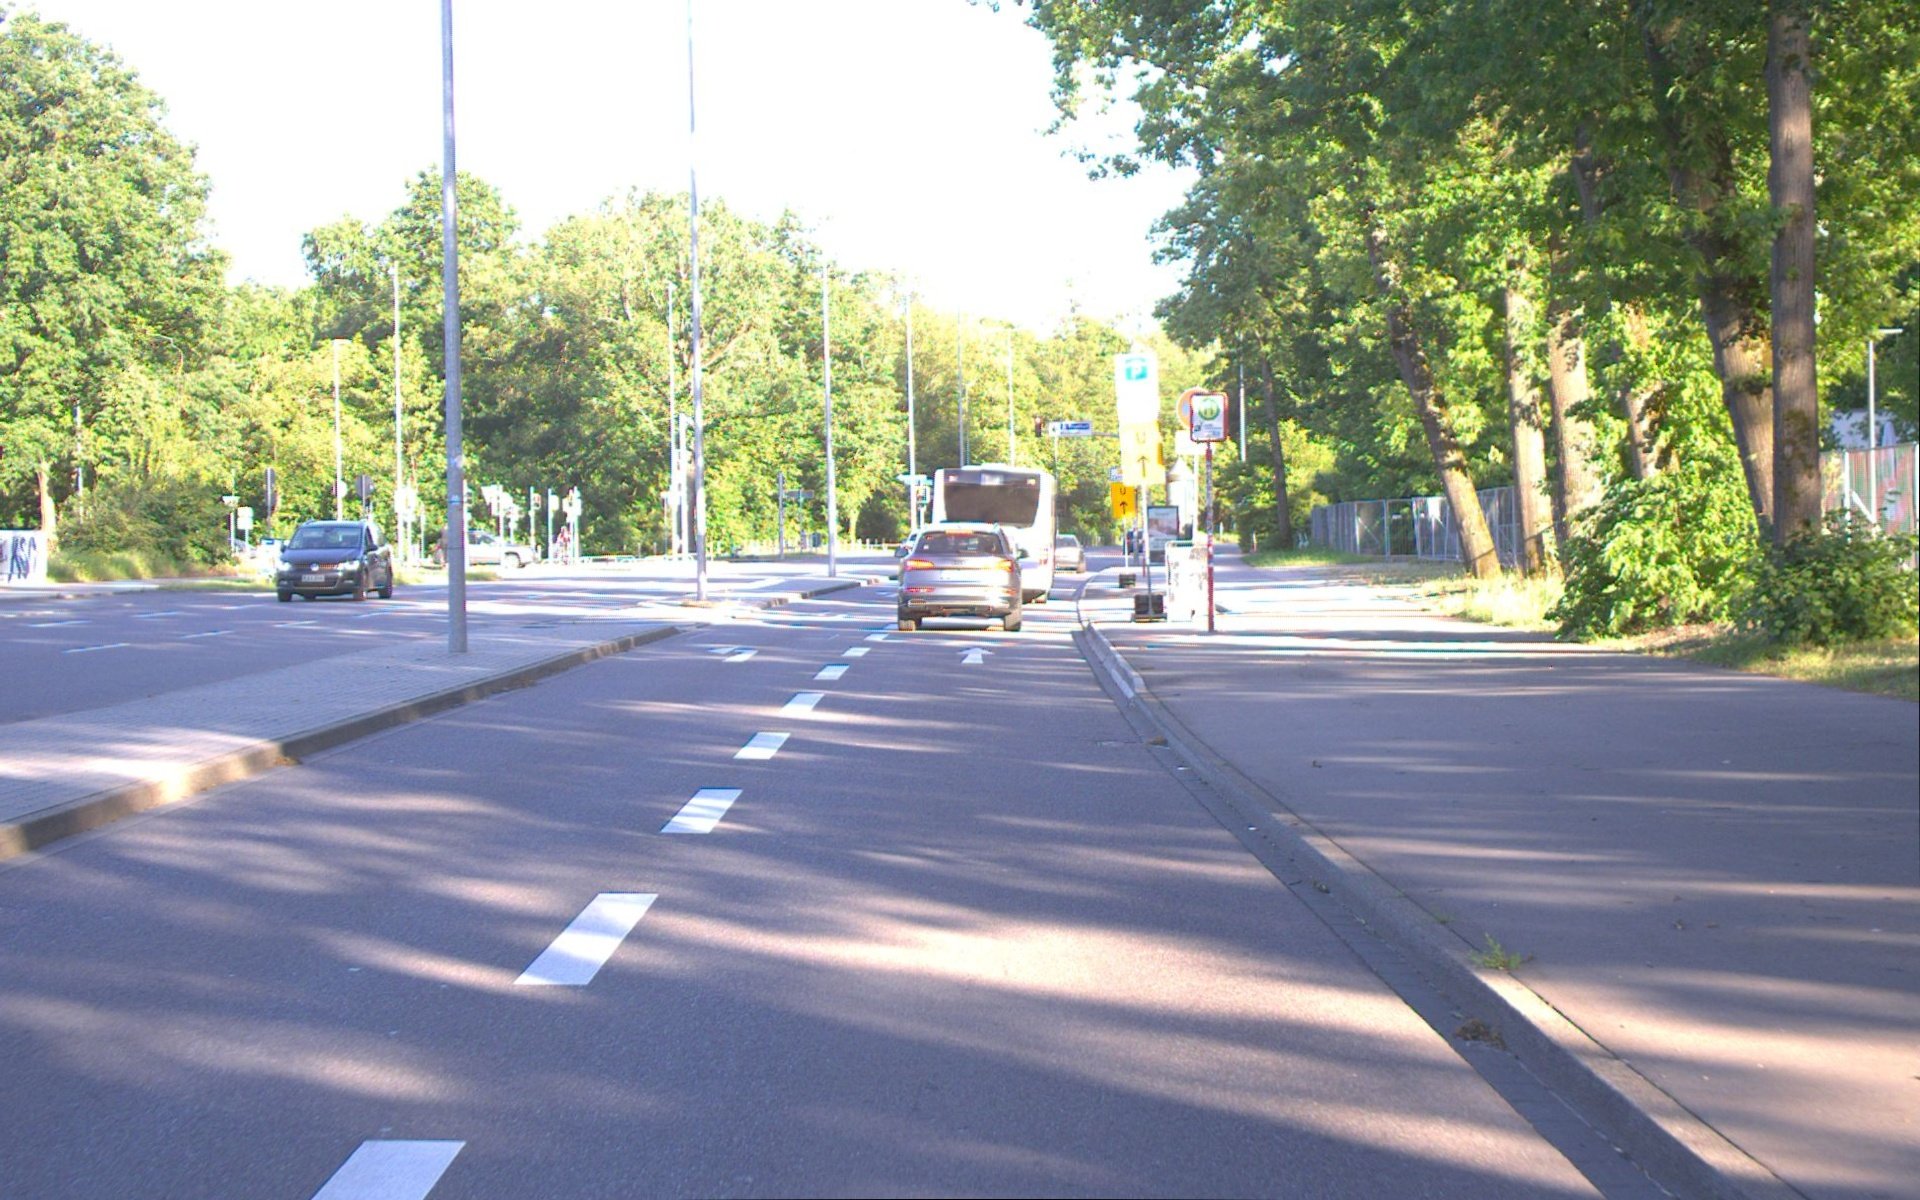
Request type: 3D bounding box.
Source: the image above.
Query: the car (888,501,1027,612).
[{"bbox_3d":[0.004,-0.707,53.229,1.899,1.626,4.000,1,2,3],"label":"car"}]

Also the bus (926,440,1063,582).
[{"bbox_3d":[0.872,-1.963,77.423,2.595,2.978,9.326,1,1,3],"label":"bus"}]

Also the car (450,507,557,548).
[{"bbox_3d":[-19.332,-3.070,145.580,4.217,1.579,2.105,-2,1,-1],"label":"car"}]

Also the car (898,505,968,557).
[{"bbox_3d":[-0.788,-2.074,103.097,1.836,1.513,4.000,0,2,3],"label":"car"}]

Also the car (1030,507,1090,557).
[{"bbox_3d":[3.600,-2.429,123.205,1.910,1.722,4.579,1,1,4],"label":"car"}]

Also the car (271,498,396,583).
[{"bbox_3d":[-13.142,-1.276,72.348,1.783,1.686,4.703,1,2,0],"label":"car"}]

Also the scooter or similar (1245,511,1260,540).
[{"bbox_3d":[15.050,-3.840,176.984,0.508,1.439,2.023,-1,1,-2],"label":"scooter or similar"}]
